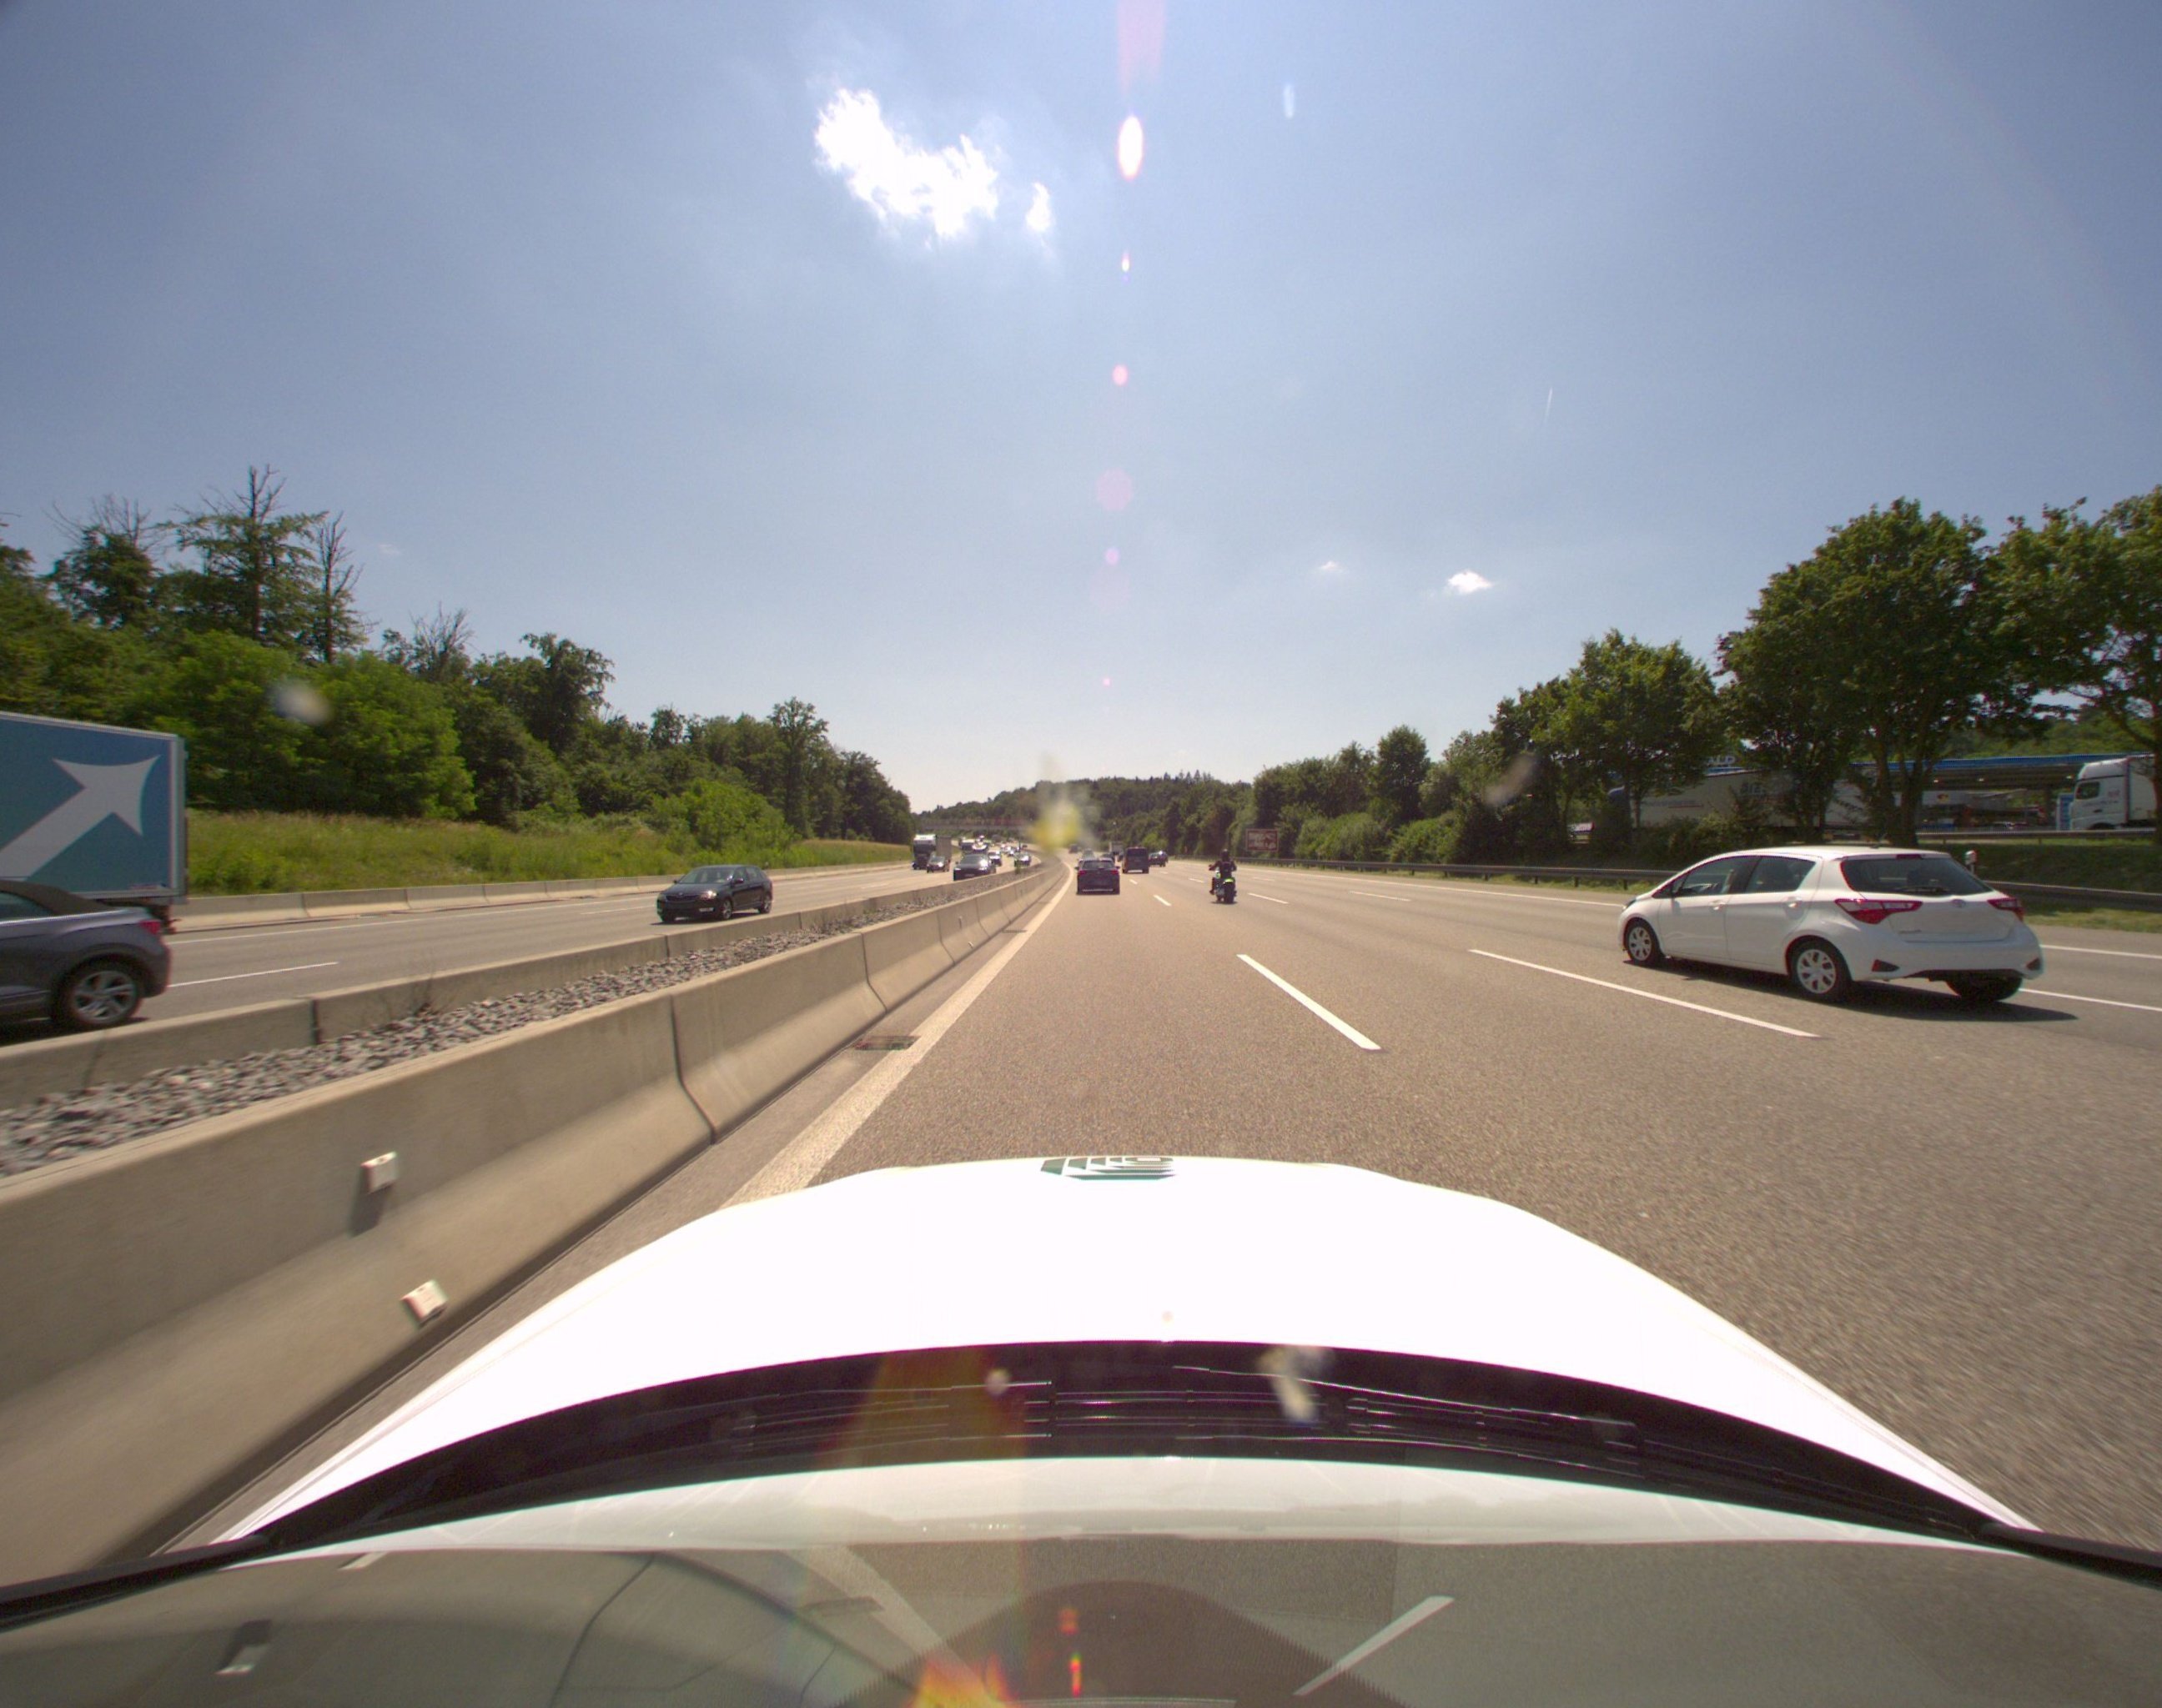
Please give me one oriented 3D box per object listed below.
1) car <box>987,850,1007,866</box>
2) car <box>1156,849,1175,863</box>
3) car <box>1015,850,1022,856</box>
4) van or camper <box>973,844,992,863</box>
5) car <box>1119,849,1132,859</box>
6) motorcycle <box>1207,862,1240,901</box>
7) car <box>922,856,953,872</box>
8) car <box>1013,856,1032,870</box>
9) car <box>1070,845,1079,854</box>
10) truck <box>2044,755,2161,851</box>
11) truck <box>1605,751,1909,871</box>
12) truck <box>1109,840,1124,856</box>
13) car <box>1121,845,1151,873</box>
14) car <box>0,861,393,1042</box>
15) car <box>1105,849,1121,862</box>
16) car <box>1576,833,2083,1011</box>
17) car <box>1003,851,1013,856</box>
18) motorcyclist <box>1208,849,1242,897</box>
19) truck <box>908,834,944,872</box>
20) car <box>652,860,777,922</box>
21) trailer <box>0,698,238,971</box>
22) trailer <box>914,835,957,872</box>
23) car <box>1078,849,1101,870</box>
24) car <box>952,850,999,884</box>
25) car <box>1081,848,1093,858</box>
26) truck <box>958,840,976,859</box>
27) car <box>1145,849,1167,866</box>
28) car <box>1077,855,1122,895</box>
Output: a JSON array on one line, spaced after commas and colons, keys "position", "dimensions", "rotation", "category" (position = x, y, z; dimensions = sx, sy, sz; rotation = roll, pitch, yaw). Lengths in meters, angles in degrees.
[{"position": [-10.796, 0.503, 104.882], "dimensions": [1.996, 2.013, 5.185], "rotation": [-1, 0, 1], "category": "car"}, {"position": [11.196, 0.247, 108.292], "dimensions": [1.988, 1.728, 3.998], "rotation": [-1, 0, -1], "category": "car"}, {"position": [-19.029, -0.288, 249.144], "dimensions": [1.989, 2.014, 3.995], "rotation": [0, -1, -3], "category": "car"}, {"position": [-15.426, -0.115, 128.028], "dimensions": [2.554, 2.930, 7.337], "rotation": [-1, 0, -5], "category": "van or camper"}, {"position": [6.591, 0.002, 121.119], "dimensions": [1.660, 1.408, 4.903], "rotation": [-1, 2, 0], "category": "car"}, {"position": [4.467, 0.844, 25.709], "dimensions": [0.534, 1.135, 2.435], "rotation": [-1, 0, -1], "category": "motorcycle"}, {"position": [-13.931, 0.937, 79.419], "dimensions": [1.986, 1.496, 4.800], "rotation": [-1, 0, 2], "category": "car"}, {"position": [-7.305, 1.080, 102.080], "dimensions": [1.866, 1.633, 5.164], "rotation": [-1, 0, 1], "category": "car"}, {"position": [-1.765, -1.306, 223.515], "dimensions": [2.258, 2.371, 4.702], "rotation": [-1, 1, 0], "category": "car"}, {"position": [45.280, -2.108, 32.003], "dimensions": [2.922, 3.855, 10.395], "rotation": [0, -1, 3], "category": "truck"}, {"position": [35.415, -1.837, 44.508], "dimensions": [3.506, 5.320, 16.395], "rotation": [0, -1, 2], "category": "truck"}, {"position": [7.483, -1.303, 172.793], "dimensions": [2.975, 3.166, 7.577], "rotation": [-1, 2, 1], "category": "truck"}, {"position": [4.247, 0.415, 63.489], "dimensions": [1.957, 2.033, 5.081], "rotation": [-1, -1, 0], "category": "car"}, {"position": [-10.244, 0.875, 8.648], "dimensions": [1.829, 1.543, 4.701], "rotation": [-1, 0, 1], "category": "car"}, {"position": [4.186, 0.241, 107.608], "dimensions": [1.939, 1.712, 3.999], "rotation": [0, -1, 0], "category": "car"}, {"position": [7.857, 0.595, 9.316], "dimensions": [1.743, 1.519, 4.485], "rotation": [-1, 0, 1], "category": "car"}, {"position": [-16.413, -0.081, 183.033], "dimensions": [1.988, 1.222, 3.998], "rotation": [0, -1, -1], "category": "car"}, {"position": [4.483, 0.570, 25.390], "dimensions": [0.850, 1.427, 1.023], "rotation": [-1, 1, -2], "category": "motorcyclist"}, {"position": [-18.065, -0.088, 95.361], "dimensions": [3.034, 4.372, 6.452], "rotation": [0, -1, -1], "category": "truck"}, {"position": [-9.866, 0.938, 22.252], "dimensions": [1.586, 1.506, 3.999], "rotation": [-1, -1, 0], "category": "car"}, {"position": [-17.727, -0.259, 7.698], "dimensions": [3.217, 4.037, 15.293], "rotation": [-1, 0, 2], "category": "trailer"}, {"position": [-18.216, -0.040, 102.960], "dimensions": [3.022, 4.360, 14.268], "rotation": [0, -1, -1], "category": "trailer"}, {"position": [0.737, 0.523, 74.159], "dimensions": [2.006, 1.846, 3.998], "rotation": [-1, -2, -1], "category": "car"}, {"position": [-5.939, 0.713, 46.426], "dimensions": [1.820, 1.829, 4.986], "rotation": [-1, 0, 2], "category": "car"}, {"position": [1.144, -0.178, 155.442], "dimensions": [2.098, 1.744, 4.683], "rotation": [-1, 2, -3], "category": "car"}, {"position": [-21.194, -0.845, 152.031], "dimensions": [2.697, 3.543, 6.614], "rotation": [0, -1, -3], "category": "truck"}, {"position": [7.874, 0.392, 85.566], "dimensions": [1.844, 1.728, 3.998], "rotation": [-1, 0, -1], "category": "car"}, {"position": [0.745, 0.812, 33.372], "dimensions": [1.702, 1.433, 4.001], "rotation": [0, 1, 1], "category": "car"}]
